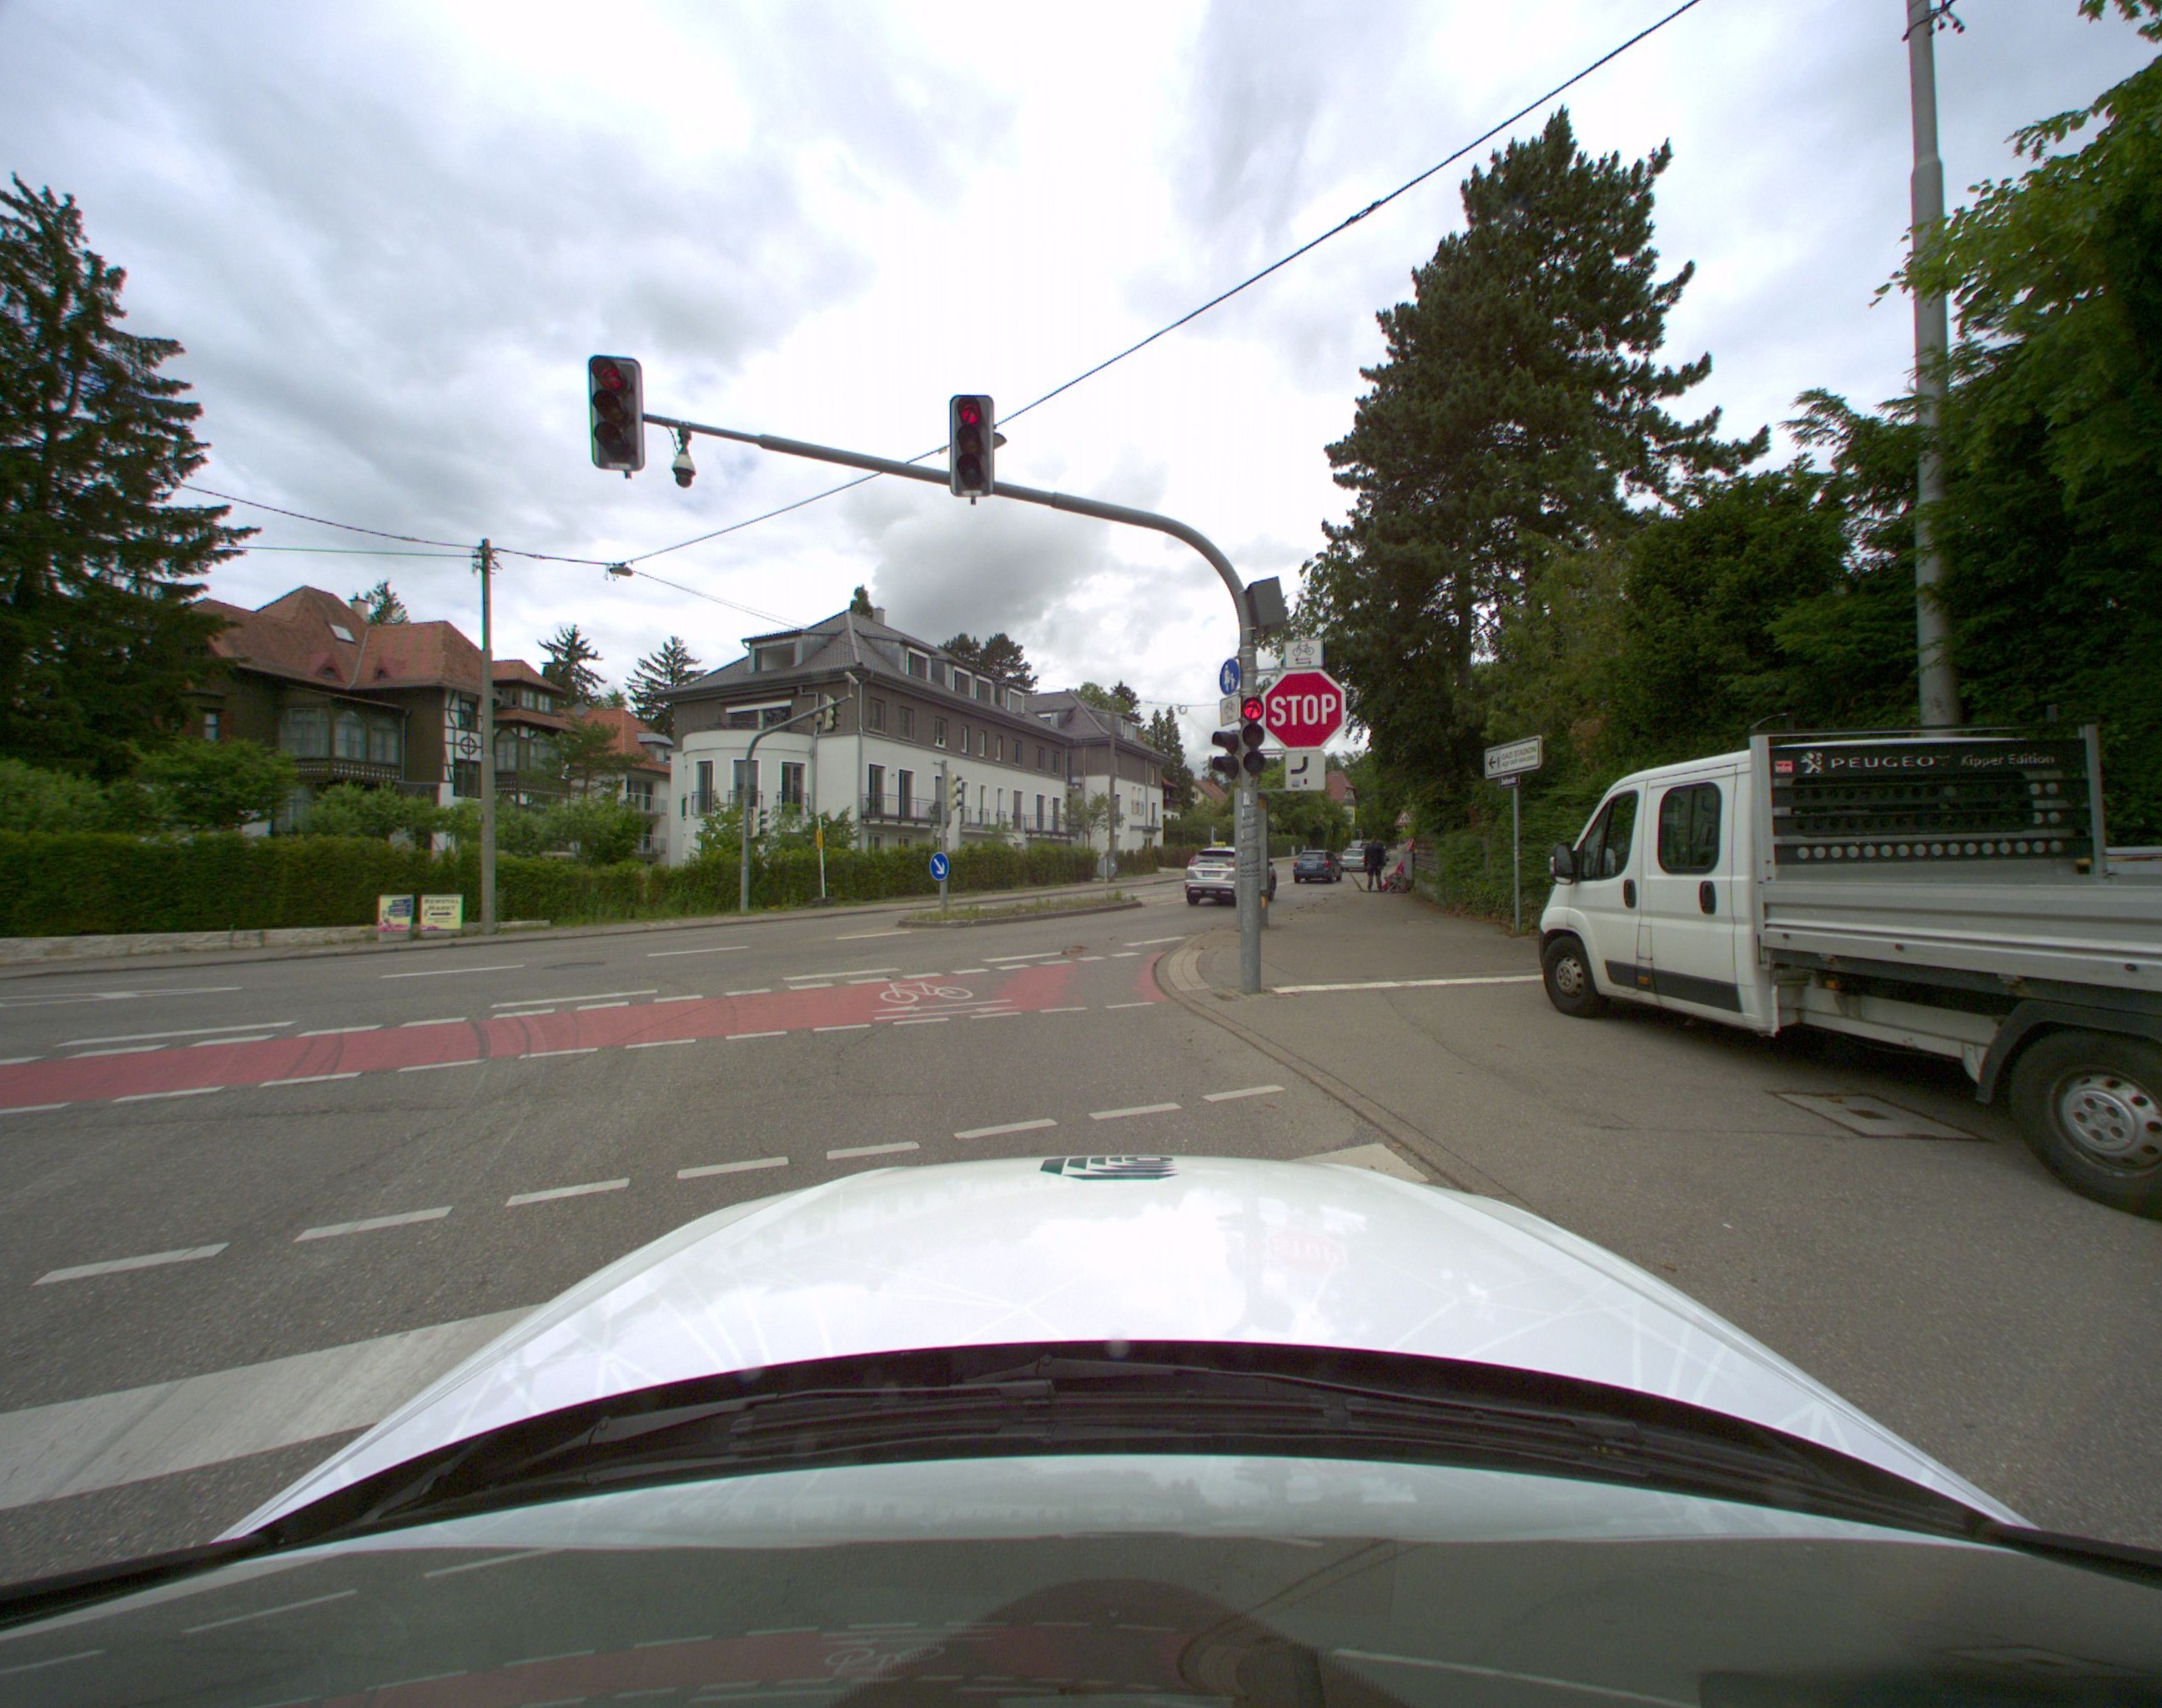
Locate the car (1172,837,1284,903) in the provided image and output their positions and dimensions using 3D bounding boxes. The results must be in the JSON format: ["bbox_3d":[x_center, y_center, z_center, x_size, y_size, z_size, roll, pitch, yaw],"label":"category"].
[{"bbox_3d":[4.426,0.411,23.988,1.790,1.753,4.515,-2,0,29],"label":"car"}]

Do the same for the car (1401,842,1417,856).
[{"bbox_3d":[46.284,-0.731,114.963,1.922,1.825,4.101,1,1,24],"label":"car"}]

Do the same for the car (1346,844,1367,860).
[{"bbox_3d":[34.073,-0.237,100.685,1.895,1.881,5.170,-2,-1,24],"label":"car"}]

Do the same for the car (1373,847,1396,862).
[{"bbox_3d":[29.875,0.010,80.091,1.824,1.459,4.102,1,1,25],"label":"car"}]

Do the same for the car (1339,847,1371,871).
[{"bbox_3d":[17.521,0.277,51.952,1.679,1.430,3.768,-2,0,22],"label":"car"}]

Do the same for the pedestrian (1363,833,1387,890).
[{"bbox_3d":[9.854,0.252,27.330,0.594,1.907,0.559,0,-1,2],"label":"pedestrian"}]

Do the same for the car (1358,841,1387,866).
[{"bbox_3d":[23.504,-0.069,65.518,1.902,1.894,4.935,1,1,23],"label":"car"}]

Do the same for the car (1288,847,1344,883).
[{"bbox_3d":[11.036,0.465,38.016,1.783,1.527,4.770,-2,0,25],"label":"car"}]

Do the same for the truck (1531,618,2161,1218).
[{"bbox_3d":[5.267,0.237,4.957,2.198,2.243,5.729,0,0,4],"label":"truck"}]
